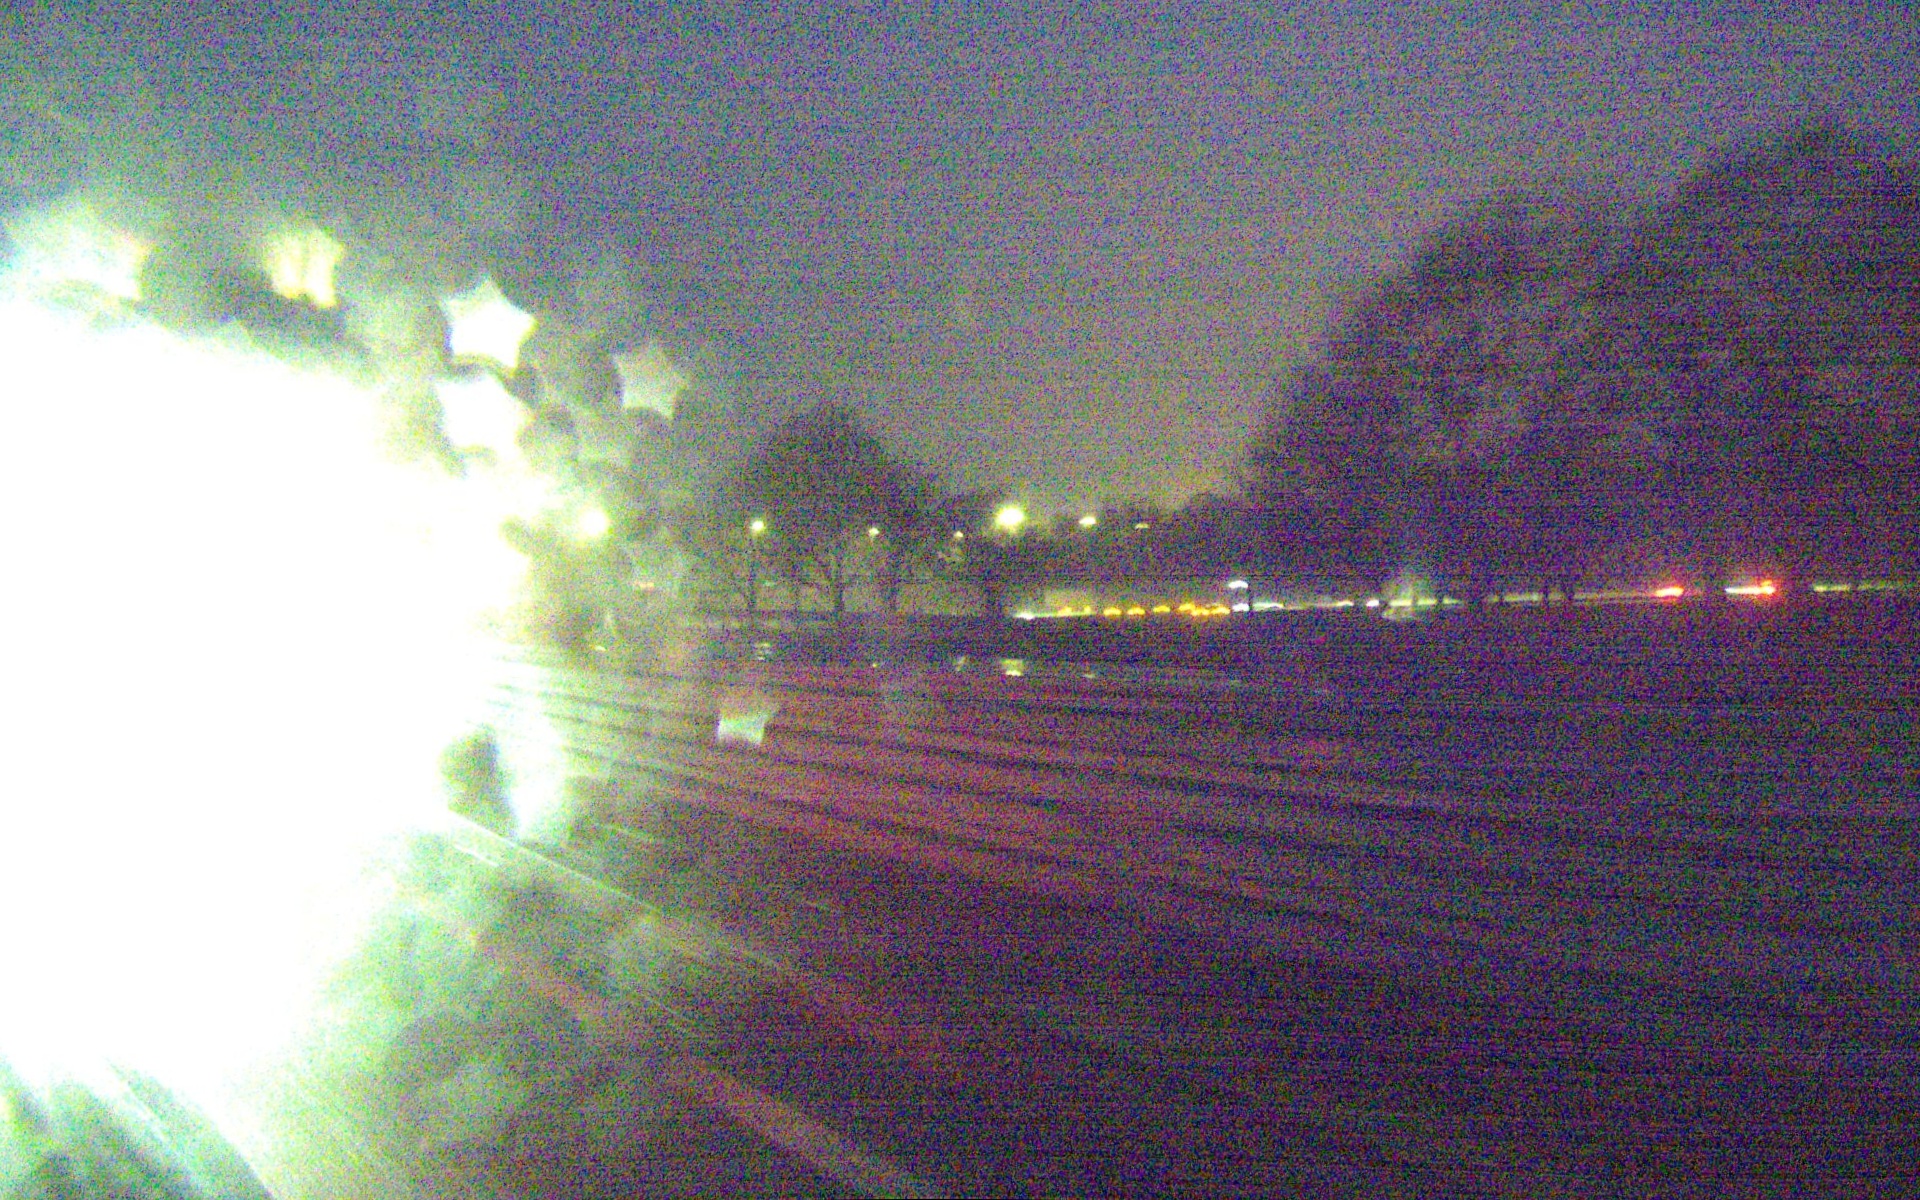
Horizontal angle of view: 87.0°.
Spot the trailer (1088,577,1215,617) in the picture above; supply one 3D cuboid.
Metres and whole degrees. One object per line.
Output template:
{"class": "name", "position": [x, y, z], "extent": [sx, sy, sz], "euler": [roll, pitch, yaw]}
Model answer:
{"class": "trailer", "position": [21.095, -0.263, 112.083], "extent": [13.573, 3.752, 2.579], "euler": [-2, 2, 25]}

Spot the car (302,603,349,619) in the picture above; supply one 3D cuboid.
{"class": "car", "position": [-70.821, 1.248, 112.996], "extent": [1.714, 1.452, 3.955], "euler": [-4, 1, 34]}

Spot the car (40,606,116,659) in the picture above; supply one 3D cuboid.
{"class": "car", "position": [-32.921, 1.175, 37.794], "extent": [1.969, 1.760, 4.106], "euler": [-4, 2, -41]}

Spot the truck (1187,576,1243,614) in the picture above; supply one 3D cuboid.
{"class": "truck", "position": [27.485, -0.518, 109.086], "extent": [5.426, 3.738, 2.576], "euler": [-2, 2, 25]}
